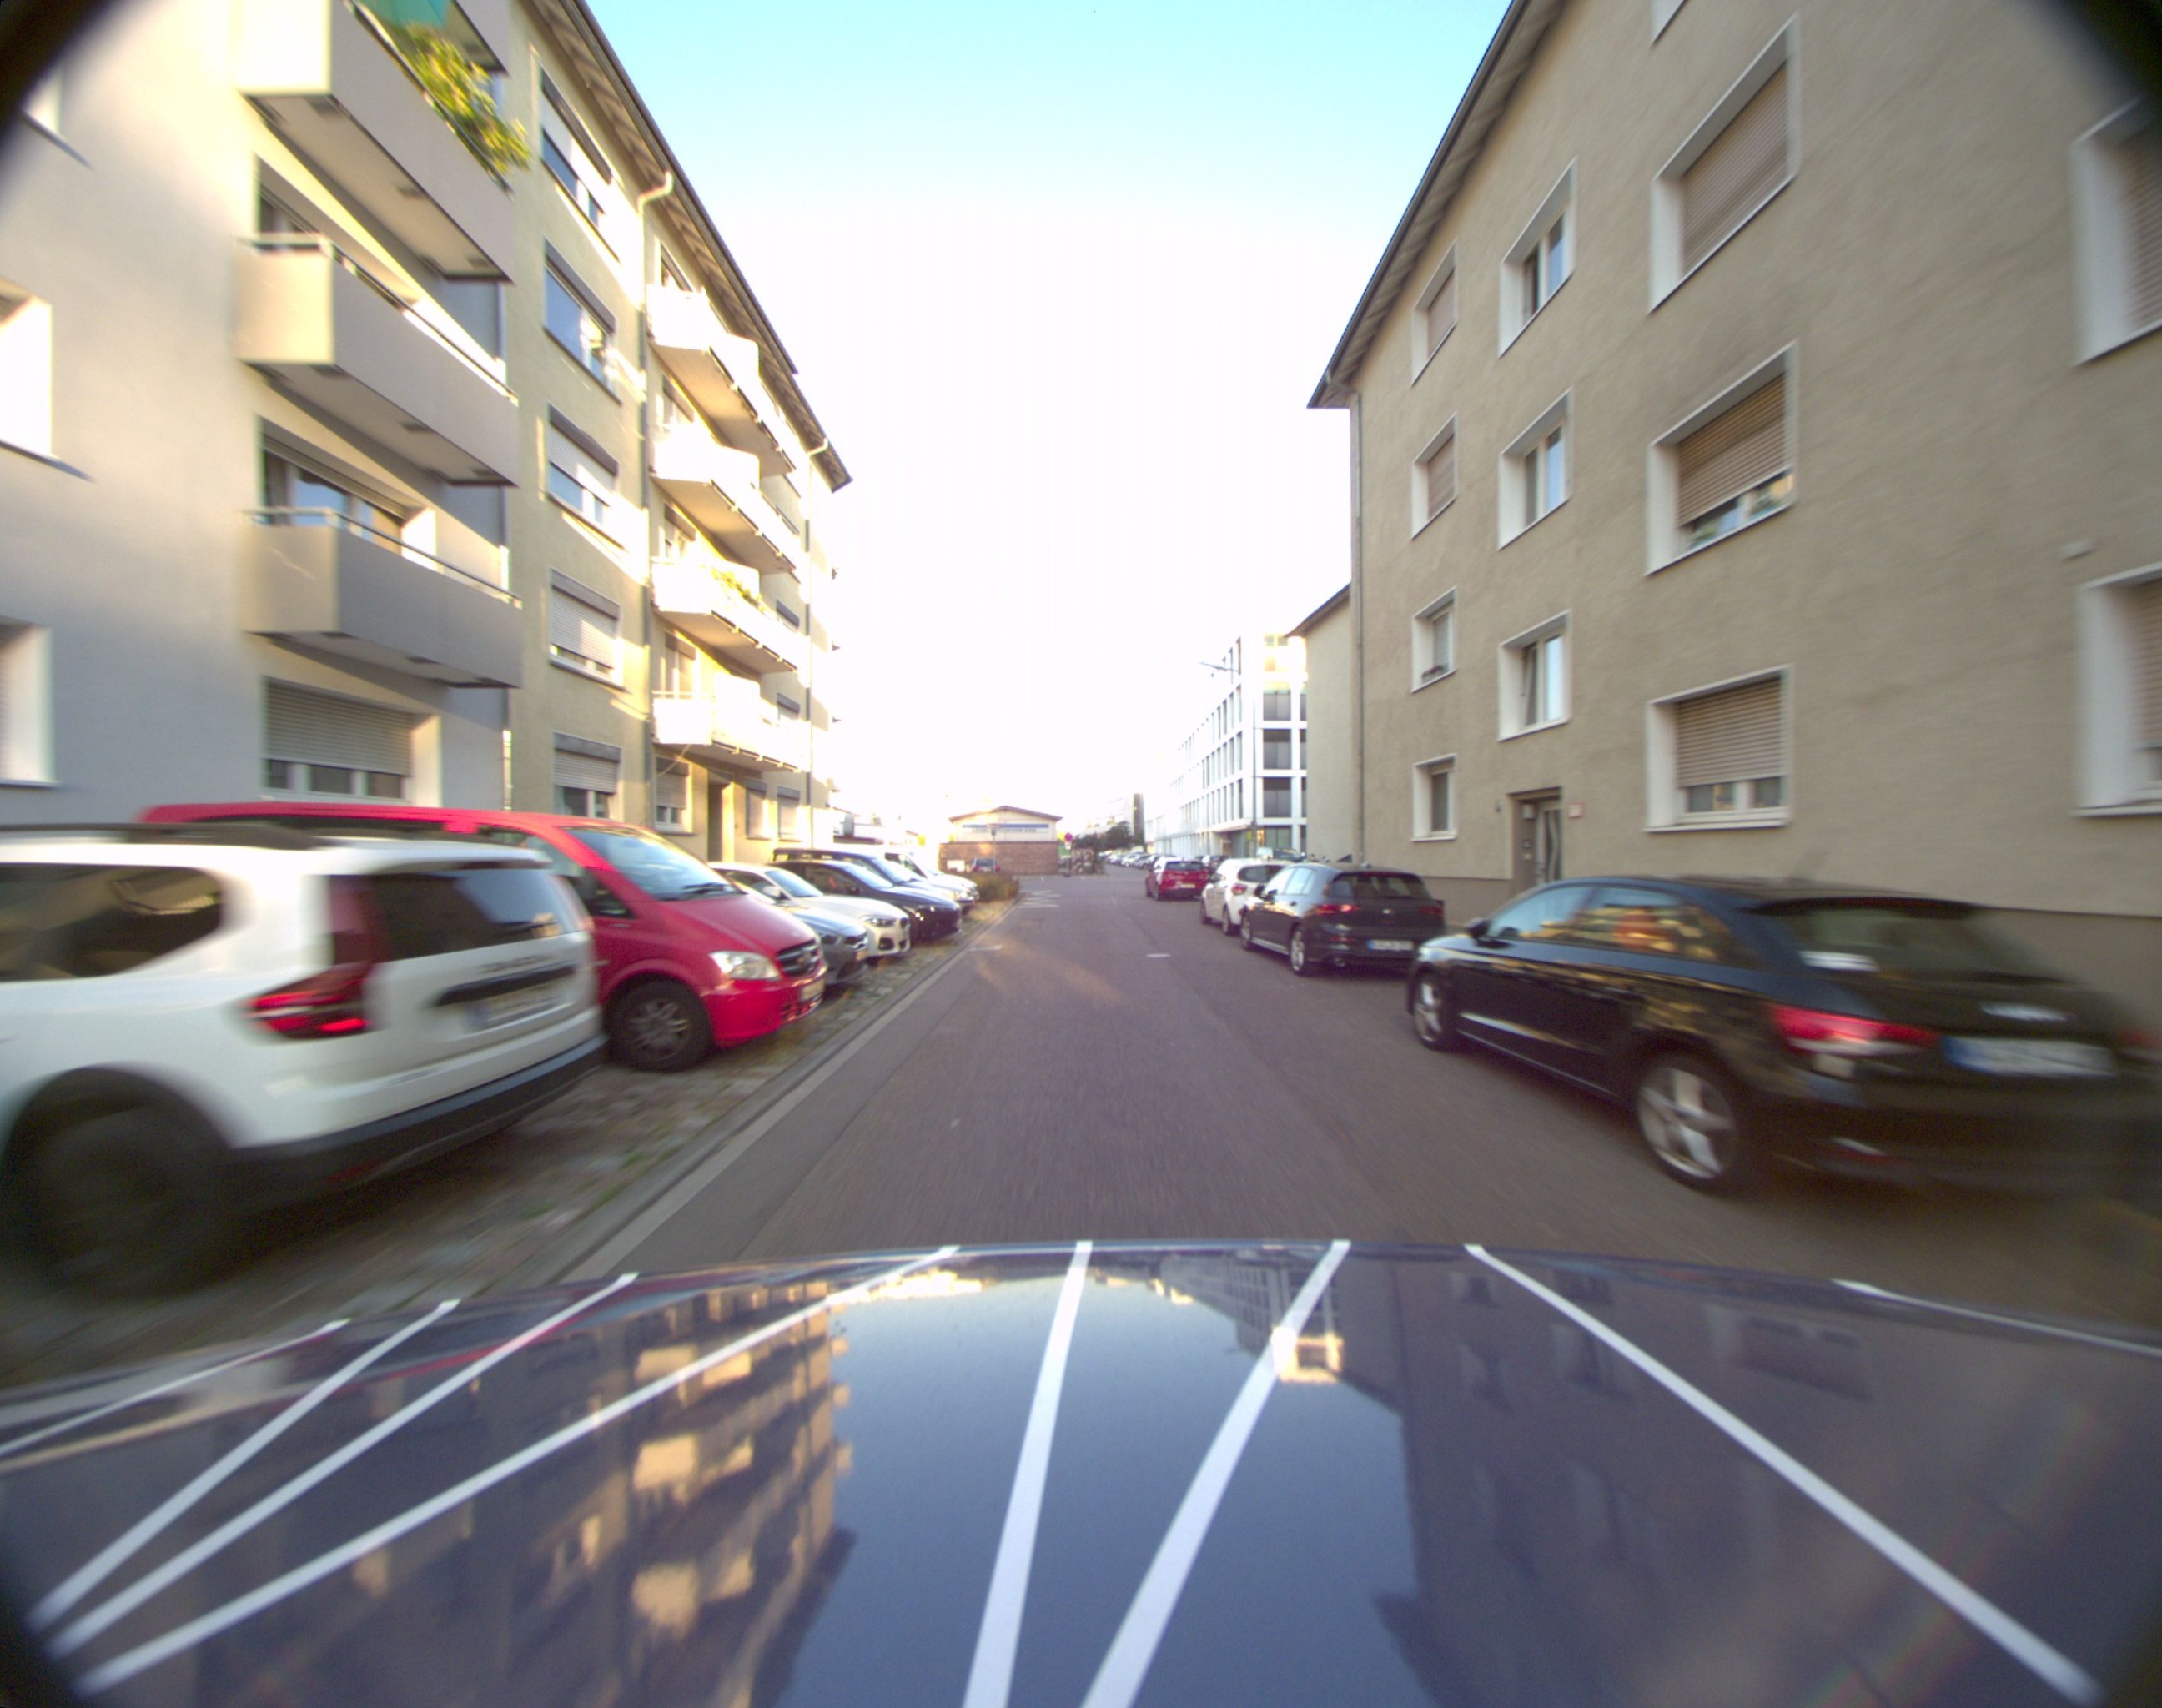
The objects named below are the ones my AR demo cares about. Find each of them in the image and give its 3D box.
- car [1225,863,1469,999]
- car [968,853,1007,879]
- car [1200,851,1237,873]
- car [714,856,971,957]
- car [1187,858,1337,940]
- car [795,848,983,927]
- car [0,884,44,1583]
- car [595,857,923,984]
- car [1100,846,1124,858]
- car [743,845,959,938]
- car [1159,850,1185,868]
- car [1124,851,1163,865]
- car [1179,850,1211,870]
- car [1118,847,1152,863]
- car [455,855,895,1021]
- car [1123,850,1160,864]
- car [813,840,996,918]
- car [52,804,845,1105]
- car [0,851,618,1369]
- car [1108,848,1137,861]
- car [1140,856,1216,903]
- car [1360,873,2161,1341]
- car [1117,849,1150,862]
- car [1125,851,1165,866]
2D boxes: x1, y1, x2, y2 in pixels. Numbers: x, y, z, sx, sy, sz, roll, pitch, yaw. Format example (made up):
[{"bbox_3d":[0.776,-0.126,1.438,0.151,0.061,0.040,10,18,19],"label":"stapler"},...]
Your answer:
[{"bbox_3d":[3.441,0.896,10.817,1.792,1.436,4.431,-1,0,-2],"label":"car"},{"bbox_3d":[-5.866,0.717,47.442,2.001,1.481,4.427,-1,0,-12],"label":"car"},{"bbox_3d":[9.615,0.546,53.367,1.998,1.477,4.000,-1,0,3],"label":"car"},{"bbox_3d":[-4.210,0.904,13.902,3.996,1.674,2.000,-1,1,3],"label":"car"},{"bbox_3d":[3.642,0.836,16.197,1.999,1.436,4.431,-1,0,-2],"label":"car"},{"bbox_3d":[-4.516,0.764,18.387,3.997,1.783,2.000,-1,1,1],"label":"car"},{"bbox_3d":[-4.534,0.928,0.784,3.998,1.652,1.999,-1,1,-2],"label":"car"},{"bbox_3d":[-4.594,0.907,11.327,3.997,1.674,2.000,-1,1,1],"label":"car"},{"bbox_3d":[5.317,-0.327,130.778,3.997,2.002,2.000,-1,1,-1],"label":"car"},{"bbox_3d":[-4.789,0.754,16.296,3.997,1.827,2.000,-1,1,1],"label":"car"},{"bbox_3d":[8.246,0.436,68.948,1.998,1.510,4.000,-1,0,3],"label":"car"},{"bbox_3d":[6.677,0.398,81.585,3.996,1.477,2.000,-1,1,2],"label":"car"},{"bbox_3d":[8.852,0.426,59.324,1.998,1.477,4.000,-1,0,3],"label":"car"},{"bbox_3d":[6.473,0.109,91.502,3.996,1.805,2.000,-1,1,2],"label":"car"},{"bbox_3d":[-4.435,0.856,8.724,3.995,1.630,2.001,-1,1,7],"label":"car"},{"bbox_3d":[6.653,0.282,83.700,3.996,1.477,2.000,-1,1,2],"label":"car"},{"bbox_3d":[-4.691,0.648,20.649,4.427,1.957,2.000,-1,1,2],"label":"car"},{"bbox_3d":[-4.577,0.680,6.128,4.685,1.988,2.000,-1,1,0],"label":"car"},{"bbox_3d":[-4.539,0.820,3.221,3.998,1.619,1.784,-1,1,-3],"label":"car"},{"bbox_3d":[5.899,0.038,107.633,3.997,1.740,2.000,-1,1,1],"label":"car"},{"bbox_3d":[3.326,0.834,26.935,1.999,1.481,4.431,-1,0,-2],"label":"car"},{"bbox_3d":[3.606,0.916,4.806,1.999,1.436,4.431,-1,0,-1],"label":"car"},{"bbox_3d":[6.477,0.189,93.755,3.996,1.477,2.000,-1,1,2],"label":"car"},{"bbox_3d":[6.613,0.427,78.965,3.996,1.477,2.000,-1,1,2],"label":"car"}]
